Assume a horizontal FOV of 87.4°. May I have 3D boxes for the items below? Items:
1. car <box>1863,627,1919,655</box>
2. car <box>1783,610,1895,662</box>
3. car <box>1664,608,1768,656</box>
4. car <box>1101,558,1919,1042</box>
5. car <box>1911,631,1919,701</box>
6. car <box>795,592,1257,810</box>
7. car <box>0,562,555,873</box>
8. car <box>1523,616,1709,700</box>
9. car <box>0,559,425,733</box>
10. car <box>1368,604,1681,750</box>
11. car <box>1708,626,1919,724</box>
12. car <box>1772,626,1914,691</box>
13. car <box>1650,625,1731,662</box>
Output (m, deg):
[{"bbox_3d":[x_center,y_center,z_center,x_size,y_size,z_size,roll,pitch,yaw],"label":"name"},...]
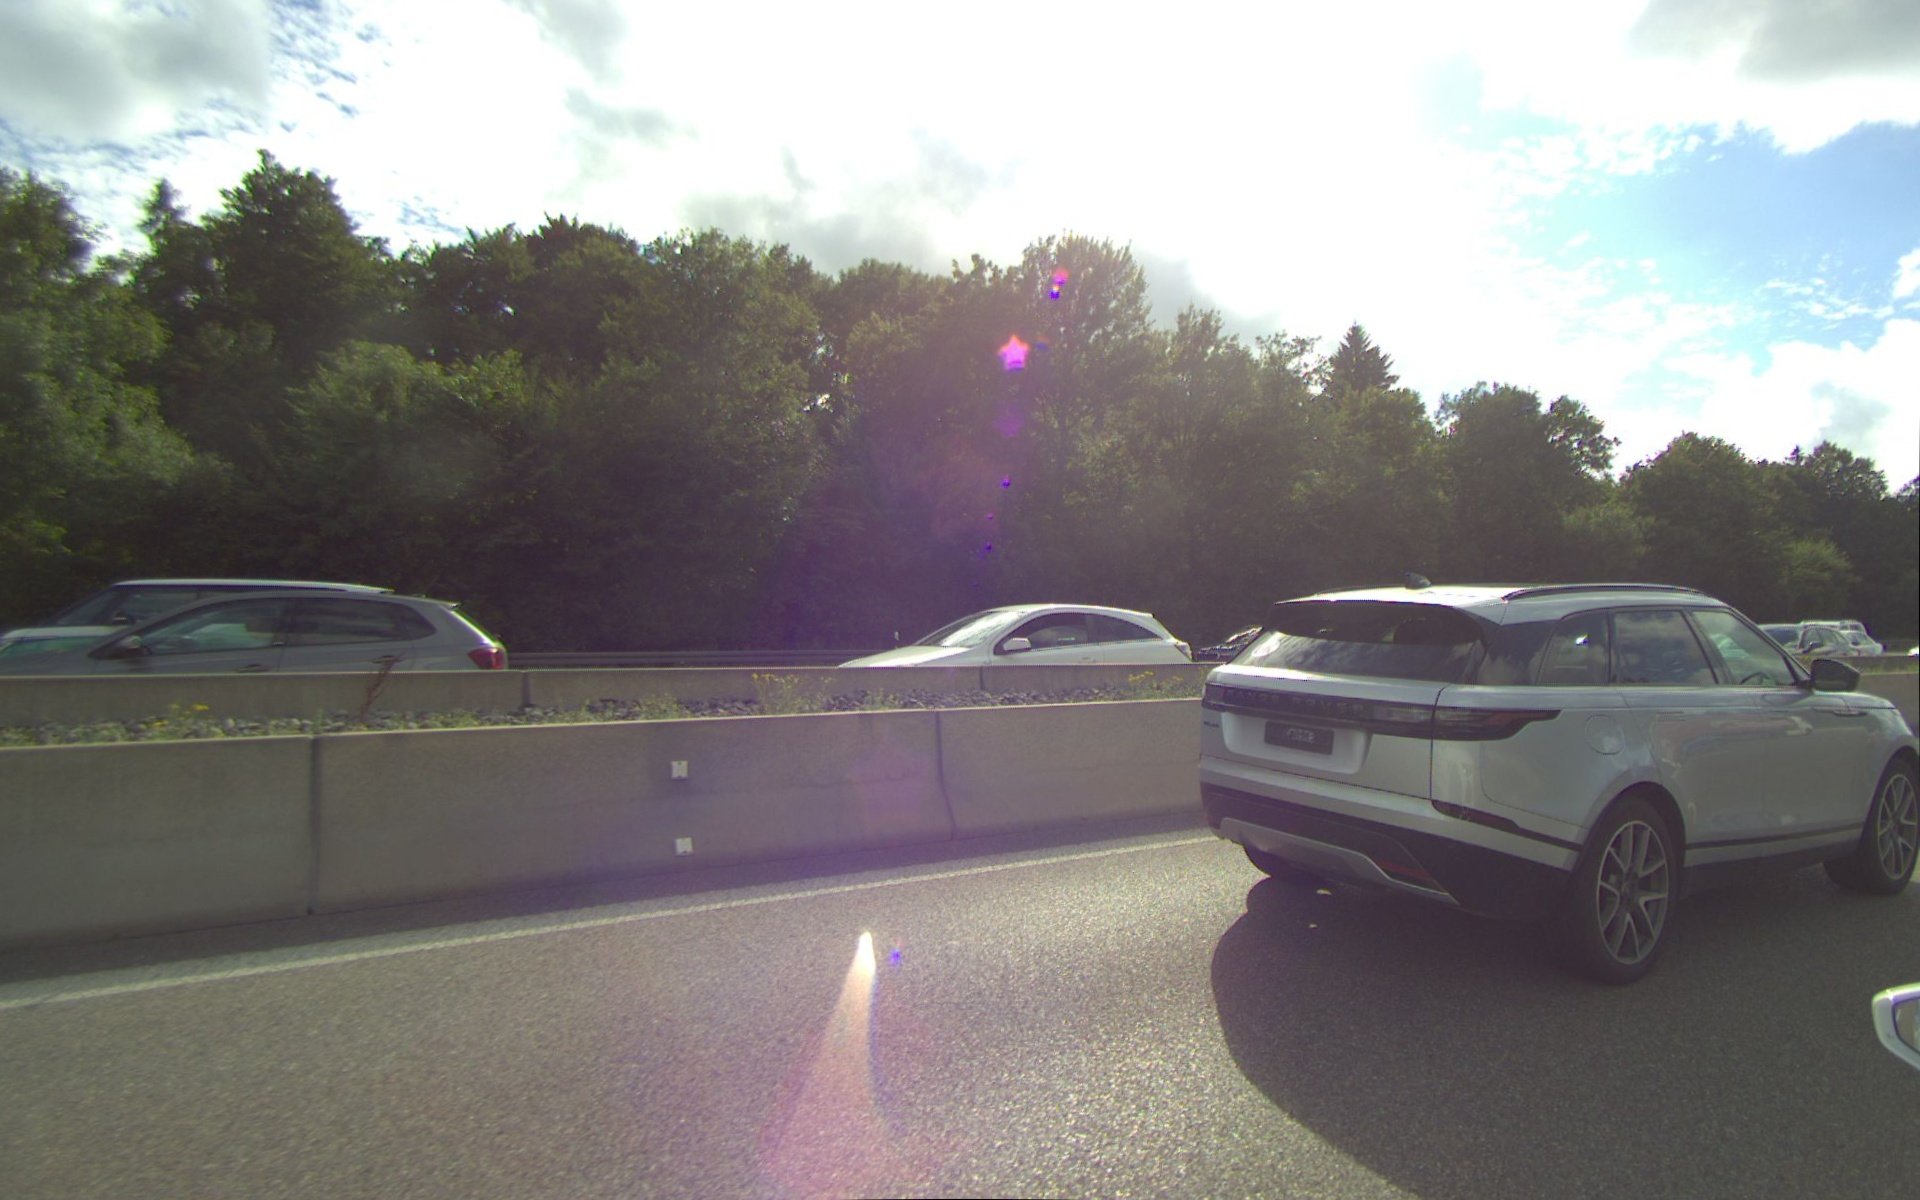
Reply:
[{"bbox_3d":[70.174,3.114,75.474,4.494,1.889,1.985,3,-1,-28],"label":"car"},{"bbox_3d":[36.148,1.481,41.298,4.494,1.889,1.985,3,-1,-28],"label":"car"},{"bbox_3d":[33.616,1.433,44.653,4.494,1.889,1.985,3,-1,-28],"label":"car"},{"bbox_3d":[3.358,0.757,5.502,5.047,1.628,1.890,2,-1,-31],"label":"car"},{"bbox_3d":[28.415,1.918,27.599,4.494,1.889,1.985,3,-1,-28],"label":"car"},{"bbox_3d":[0.748,0.987,10.652,4.494,1.889,1.950,3,-1,-28],"label":"car"},{"bbox_3d":[-5.562,0.838,8.141,3.952,2.040,1.985,3,-1,-29],"label":"car"},{"bbox_3d":[16.559,1.478,25.321,4.494,1.889,1.985,3,-1,-28],"label":"car"},{"bbox_3d":[-10.022,0.633,13.629,4.796,2.040,1.985,3,-1,-29],"label":"car"},{"bbox_3d":[8.544,1.133,15.154,4.494,1.889,1.985,3,-1,-28],"label":"car"},{"bbox_3d":[18.622,1.626,21.884,4.494,1.889,1.985,3,-1,-28],"label":"car"},{"bbox_3d":[28.592,1.899,32.519,4.494,1.889,1.985,3,-1,-28],"label":"car"},{"bbox_3d":[42.493,2.530,58.413,4.494,1.889,1.985,3,-1,-28],"label":"car"}]
